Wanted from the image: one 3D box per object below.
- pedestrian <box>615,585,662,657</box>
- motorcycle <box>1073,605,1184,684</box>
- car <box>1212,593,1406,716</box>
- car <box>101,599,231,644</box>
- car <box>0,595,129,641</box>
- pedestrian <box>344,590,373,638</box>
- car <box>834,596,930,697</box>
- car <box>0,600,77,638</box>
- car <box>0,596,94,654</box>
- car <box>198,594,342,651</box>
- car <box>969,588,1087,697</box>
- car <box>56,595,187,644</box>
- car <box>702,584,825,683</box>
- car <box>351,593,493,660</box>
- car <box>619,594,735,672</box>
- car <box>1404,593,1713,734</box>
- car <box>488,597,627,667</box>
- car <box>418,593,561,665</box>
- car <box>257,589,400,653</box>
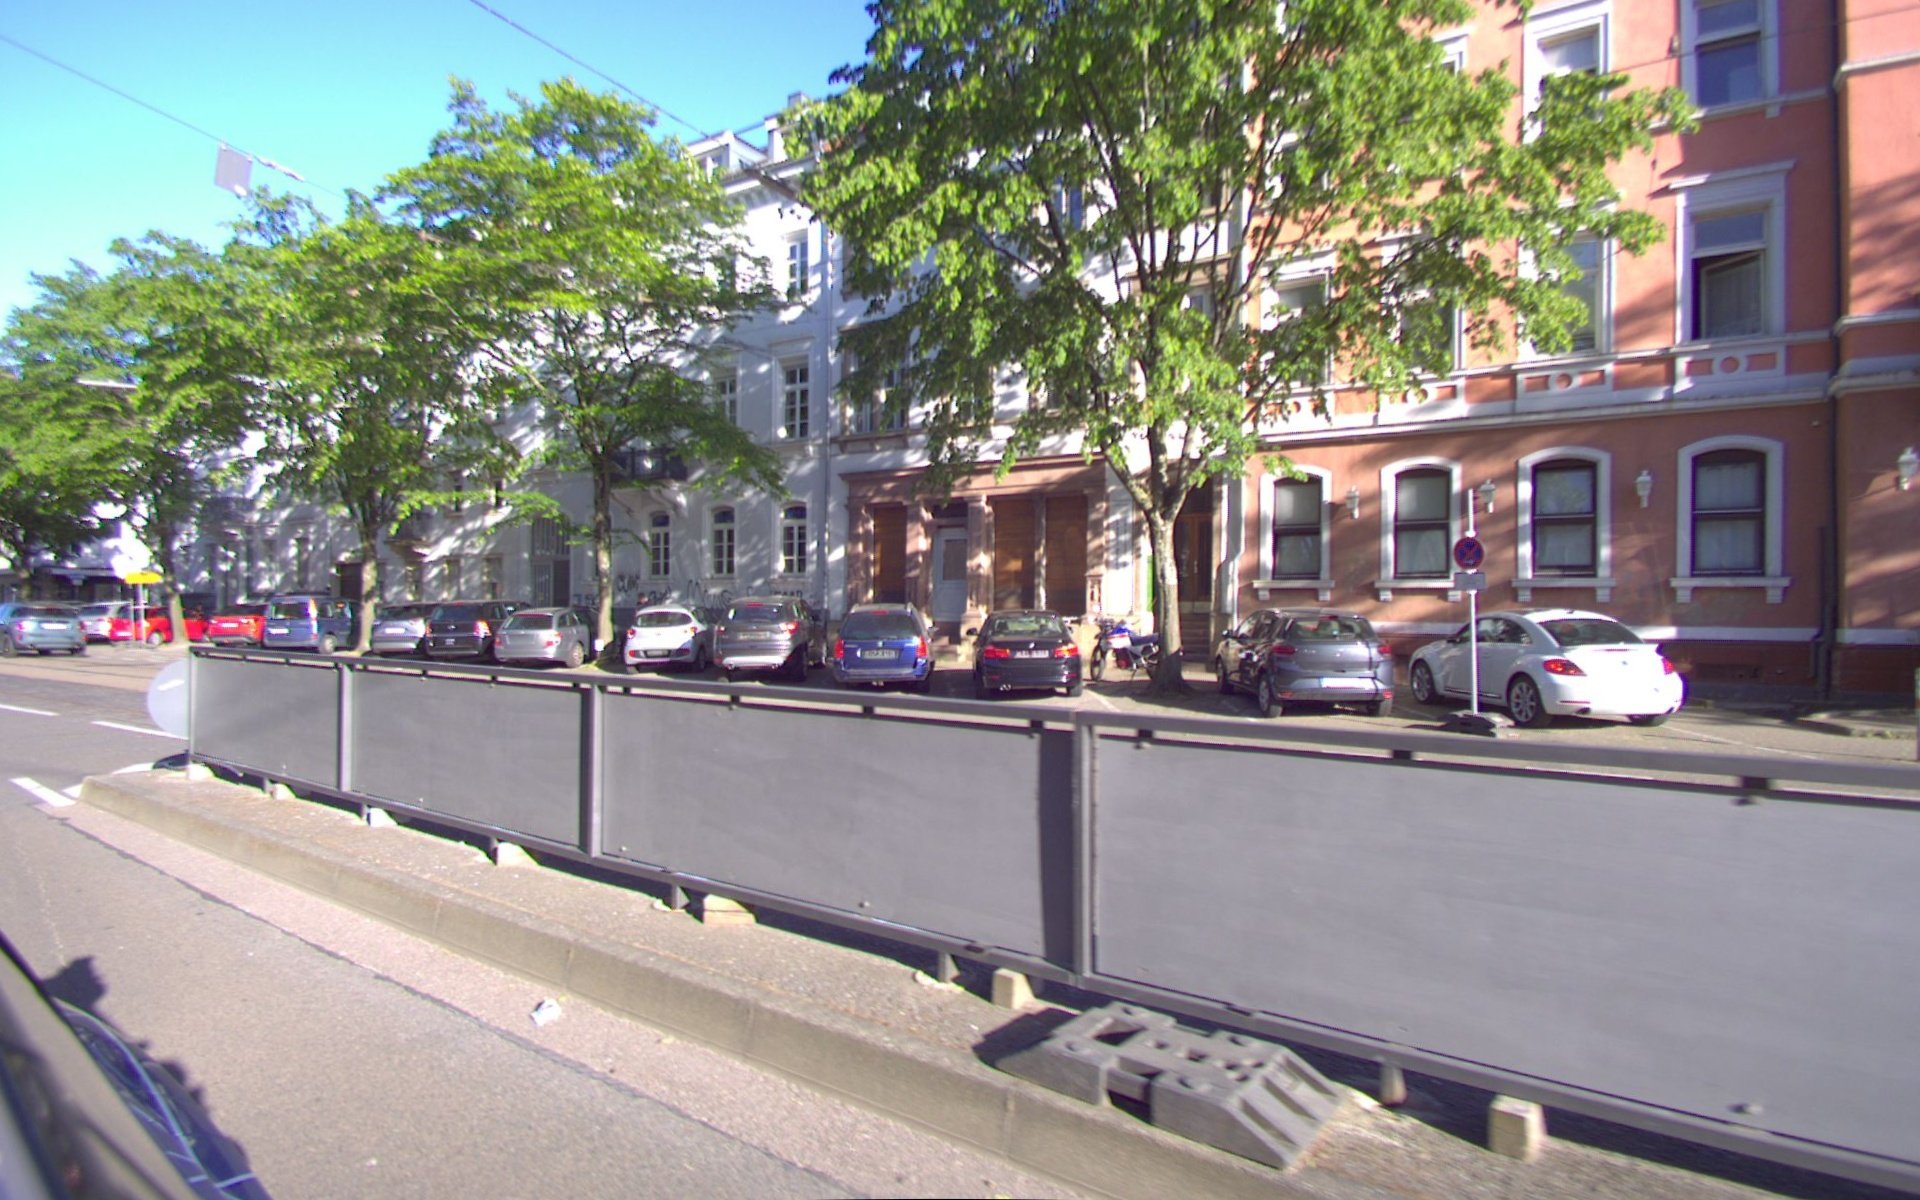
[{"bbox_3d":[-8.093,0.524,25.470,0.802,1.769,0.760,0,-1,22],"label":"pedestrian"},{"bbox_3d":[3.029,0.769,18.316,1.929,1.289,0.671,3,2,44],"label":"motorcycle"},{"bbox_3d":[5.126,0.717,15.411,1.666,1.519,3.921,-1,2,1],"label":"car"},{"bbox_3d":[-30.746,0.779,39.355,1.619,1.569,4.196,0,1,4],"label":"car"},{"bbox_3d":[-38.246,0.716,43.028,1.927,1.727,4.347,0,2,9],"label":"car"},{"bbox_3d":[-21.705,0.505,36.516,0.869,1.709,0.636,0,-1,38],"label":"pedestrian"},{"bbox_3d":[-1.414,0.782,19.229,1.611,1.629,3.989,-1,2,-3],"label":"car"},{"bbox_3d":[-41.722,0.814,44.786,1.757,1.497,3.999,0,1,1],"label":"car"},{"bbox_3d":[-27.523,0.698,29.648,4.408,1.613,1.858,0,-1,29],"label":"car"},{"bbox_3d":[-22.825,0.688,33.699,1.720,1.649,4.197,-1,2,4],"label":"car"},{"bbox_3d":[1.075,0.640,17.771,1.611,1.629,3.989,-1,2,-3],"label":"car"},{"bbox_3d":[-33.508,0.737,40.610,1.760,1.737,4.201,0,2,0],"label":"car"},{"bbox_3d":[-4.033,0.609,21.425,1.684,1.735,4.285,1,3,1],"label":"car"},{"bbox_3d":[-14.859,0.669,28.183,1.750,1.666,3.867,1,1,4],"label":"car"},{"bbox_3d":[-6.463,0.703,23.412,1.684,1.544,3.280,-1,2,1],"label":"car"},{"bbox_3d":[7.934,0.734,13.907,1.709,1.533,3.921,-1,2,-4],"label":"car"},{"bbox_3d":[-9.866,0.736,25.133,1.748,1.496,3.818,0,2,4],"label":"car"},{"bbox_3d":[-12.131,0.680,26.368,1.750,1.666,3.866,1,1,4],"label":"car"},{"bbox_3d":[-20.068,0.602,32.376,1.763,1.811,4.197,1,2,4],"label":"car"}]
